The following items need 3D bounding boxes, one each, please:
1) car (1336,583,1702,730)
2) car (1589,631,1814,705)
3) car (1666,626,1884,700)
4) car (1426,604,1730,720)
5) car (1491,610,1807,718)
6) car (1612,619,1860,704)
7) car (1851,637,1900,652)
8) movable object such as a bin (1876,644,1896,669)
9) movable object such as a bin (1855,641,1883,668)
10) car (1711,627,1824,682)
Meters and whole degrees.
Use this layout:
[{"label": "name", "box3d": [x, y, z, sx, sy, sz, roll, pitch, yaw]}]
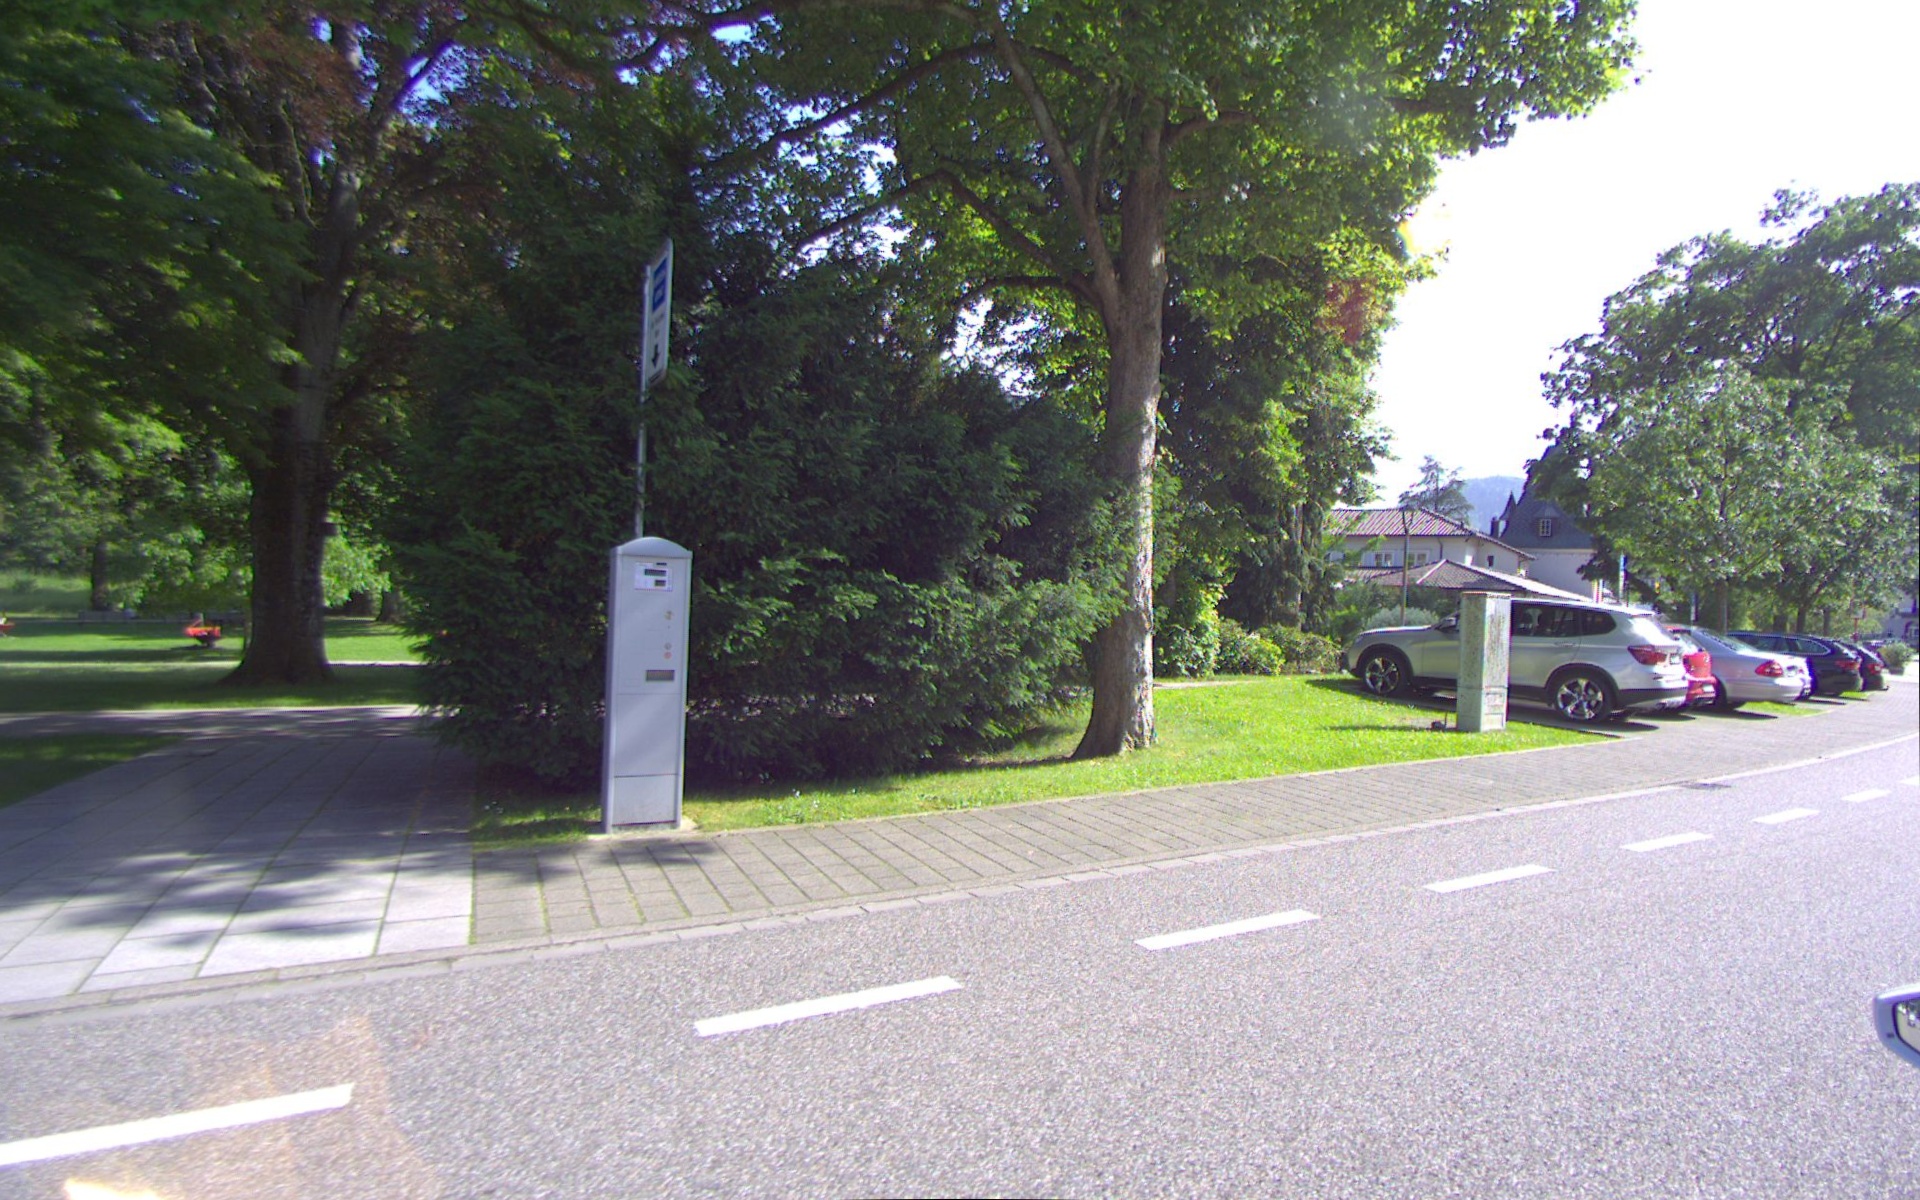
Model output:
[{"label": "car", "box3d": [8.305, 0.745, 15.253, 1.797, 1.685, 4.440, 3, 1, -42]}, {"label": "car", "box3d": [16.282, 1.440, 22.154, 3.754, 1.259, 1.752, 3, 0, 44]}, {"label": "car", "box3d": [21.123, 1.582, 26.219, 4.223, 1.451, 1.705, 5, 1, 39]}, {"label": "car", "box3d": [10.199, 0.951, 16.787, 1.708, 1.451, 3.949, 3, 1, -42]}, {"label": "car", "box3d": [12.476, 1.081, 18.435, 1.797, 1.436, 4.440, 3, 1, -42]}, {"label": "car", "box3d": [18.292, 1.380, 23.821, 4.446, 1.530, 1.703, 4, 1, 44]}, {"label": "car", "box3d": [110.336, 5.358, 121.085, 3.924, 1.684, 1.999, 1, -1, 24]}, {"label": "movable object such as a bin", "box3d": [54.825, 3.349, 59.506, 0.746, 1.359, 1.288, 5, 2, 41]}, {"label": "movable object such as a bin", "box3d": [52.862, 3.151, 58.437, 1.066, 1.446, 1.370, 5, 2, 41]}, {"label": "car", "box3d": [27.401, 1.831, 34.121, 1.668, 1.567, 2.629, 3, 1, -39]}]
